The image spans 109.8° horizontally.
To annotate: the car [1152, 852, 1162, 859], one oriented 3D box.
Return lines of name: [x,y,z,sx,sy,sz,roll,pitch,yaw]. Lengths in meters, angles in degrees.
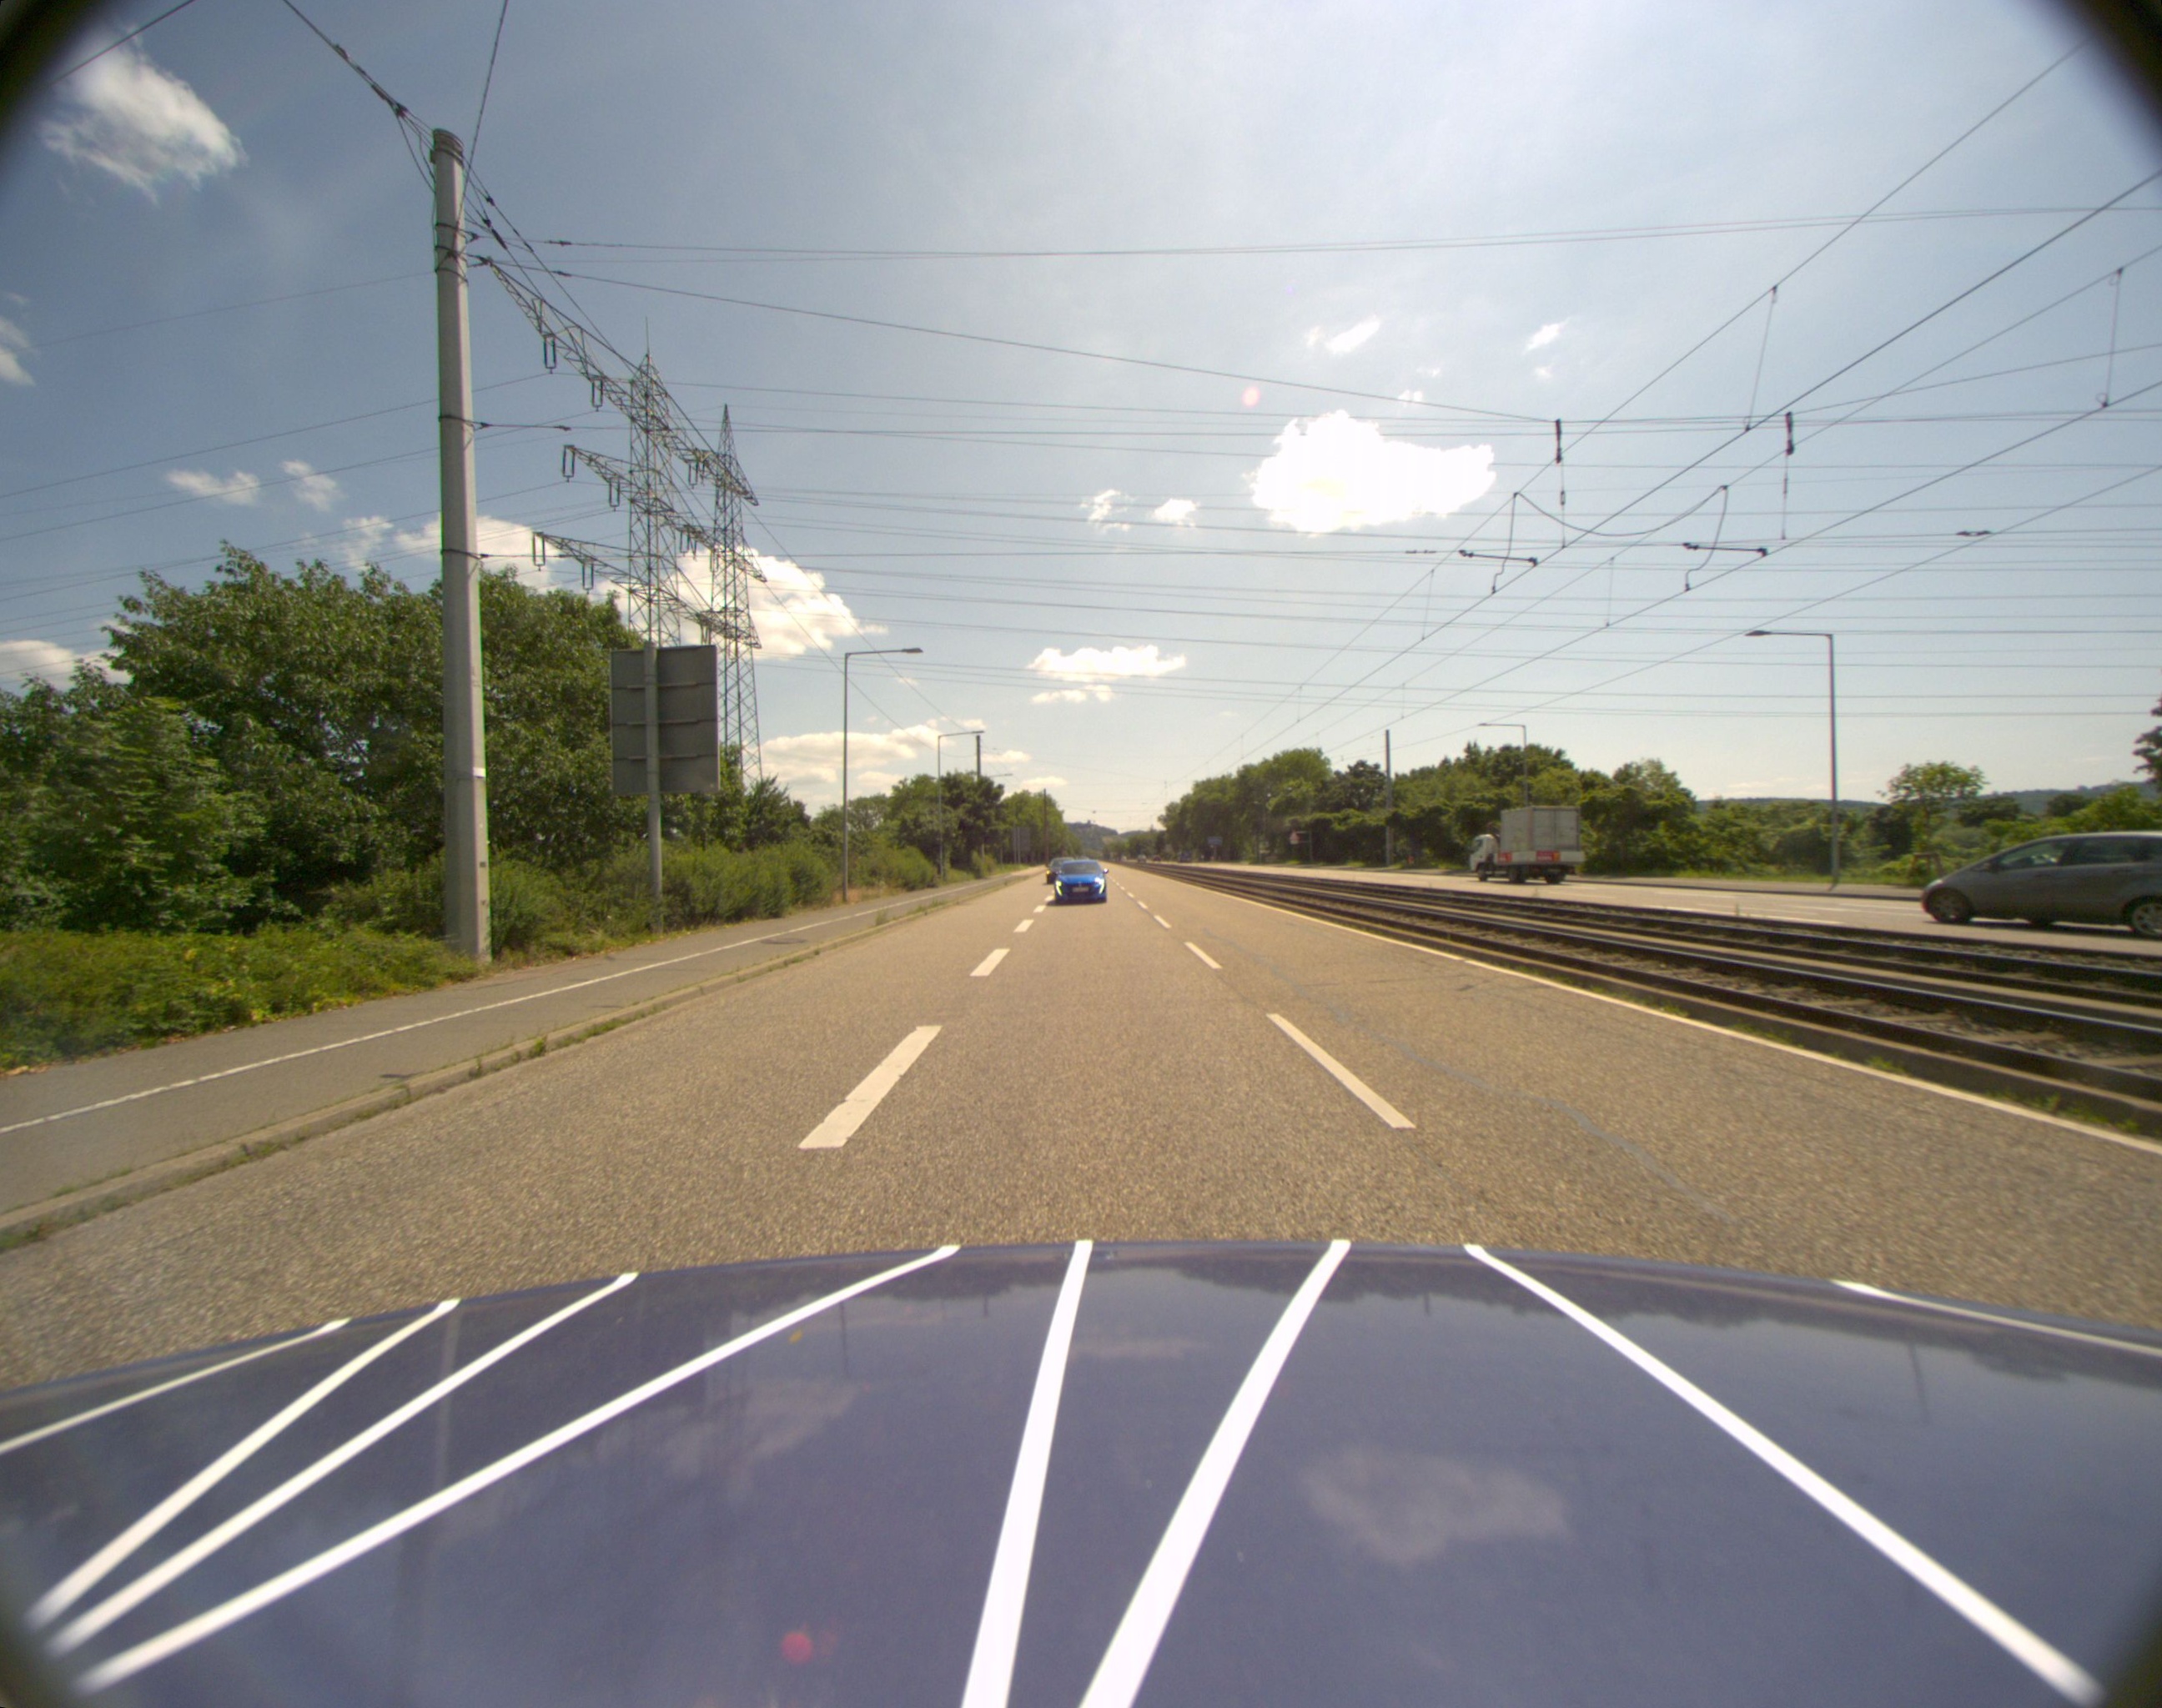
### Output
car: [18.604,0.388,186.106,1.806,1.616,4.211,0,0,0]

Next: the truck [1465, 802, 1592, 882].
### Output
truck: [19.755,-0.509,33.974,2.255,3.218,6.042,-1,0,2]

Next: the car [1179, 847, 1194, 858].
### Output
car: [17.929,-0.265,129.601,1.862,1.916,5.007,0,0,0]

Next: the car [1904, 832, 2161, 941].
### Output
car: [15.928,0.443,11.915,1.757,1.526,3.956,0,0,0]

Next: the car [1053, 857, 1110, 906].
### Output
car: [0.044,0.876,26.419,1.771,1.463,4.467,-2,0,1]

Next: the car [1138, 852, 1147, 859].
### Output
car: [14.703,0.418,180.789,1.806,1.616,4.494,0,0,0]

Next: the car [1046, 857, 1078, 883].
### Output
car: [-1.117,0.937,45.966,1.771,1.422,4.000,-2,0,1]
